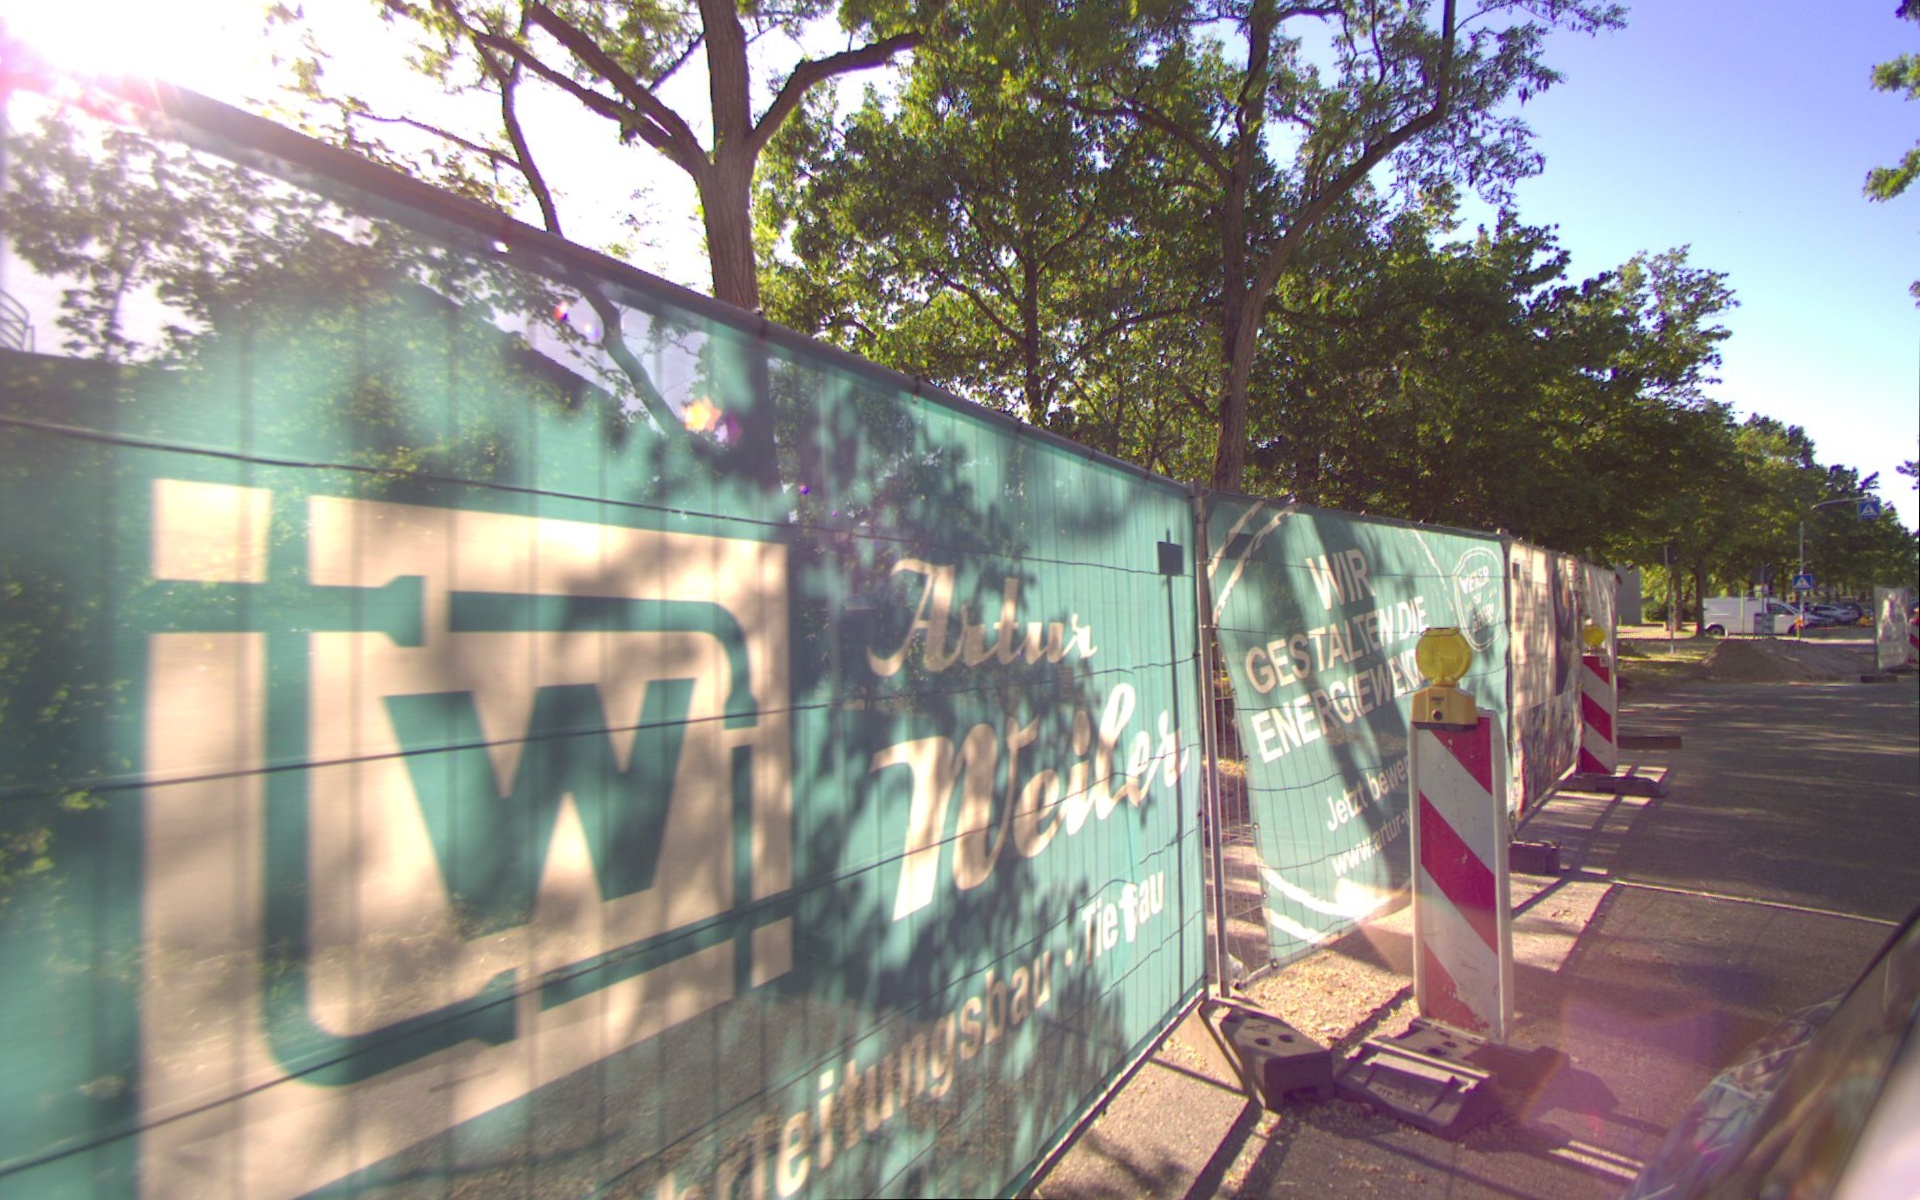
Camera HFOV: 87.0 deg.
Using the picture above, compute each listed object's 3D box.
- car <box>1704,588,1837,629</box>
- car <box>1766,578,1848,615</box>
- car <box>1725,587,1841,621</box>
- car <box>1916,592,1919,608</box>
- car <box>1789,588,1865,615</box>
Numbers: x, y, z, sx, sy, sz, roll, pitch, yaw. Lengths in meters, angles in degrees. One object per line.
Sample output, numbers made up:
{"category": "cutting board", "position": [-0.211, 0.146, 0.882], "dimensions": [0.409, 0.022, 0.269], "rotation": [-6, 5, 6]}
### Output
{"category": "car", "position": [42.097, 0.431, 52.653], "dimensions": [5.255, 2.030, 1.968], "rotation": [-1, -1, 44]}
{"category": "car", "position": [60.553, -0.224, 72.386], "dimensions": [4.395, 2.578, 1.860], "rotation": [-1, -1, 42]}
{"category": "car", "position": [51.934, 0.263, 63.949], "dimensions": [5.563, 2.030, 1.970], "rotation": [-1, -1, 42]}
{"category": "car", "position": [114.393, 0.017, 119.473], "dimensions": [3.934, 1.905, 1.995], "rotation": [-1, 0, -44]}
{"category": "car", "position": [64.678, 0.134, 75.557], "dimensions": [4.229, 2.030, 1.542], "rotation": [-1, -1, 42]}
